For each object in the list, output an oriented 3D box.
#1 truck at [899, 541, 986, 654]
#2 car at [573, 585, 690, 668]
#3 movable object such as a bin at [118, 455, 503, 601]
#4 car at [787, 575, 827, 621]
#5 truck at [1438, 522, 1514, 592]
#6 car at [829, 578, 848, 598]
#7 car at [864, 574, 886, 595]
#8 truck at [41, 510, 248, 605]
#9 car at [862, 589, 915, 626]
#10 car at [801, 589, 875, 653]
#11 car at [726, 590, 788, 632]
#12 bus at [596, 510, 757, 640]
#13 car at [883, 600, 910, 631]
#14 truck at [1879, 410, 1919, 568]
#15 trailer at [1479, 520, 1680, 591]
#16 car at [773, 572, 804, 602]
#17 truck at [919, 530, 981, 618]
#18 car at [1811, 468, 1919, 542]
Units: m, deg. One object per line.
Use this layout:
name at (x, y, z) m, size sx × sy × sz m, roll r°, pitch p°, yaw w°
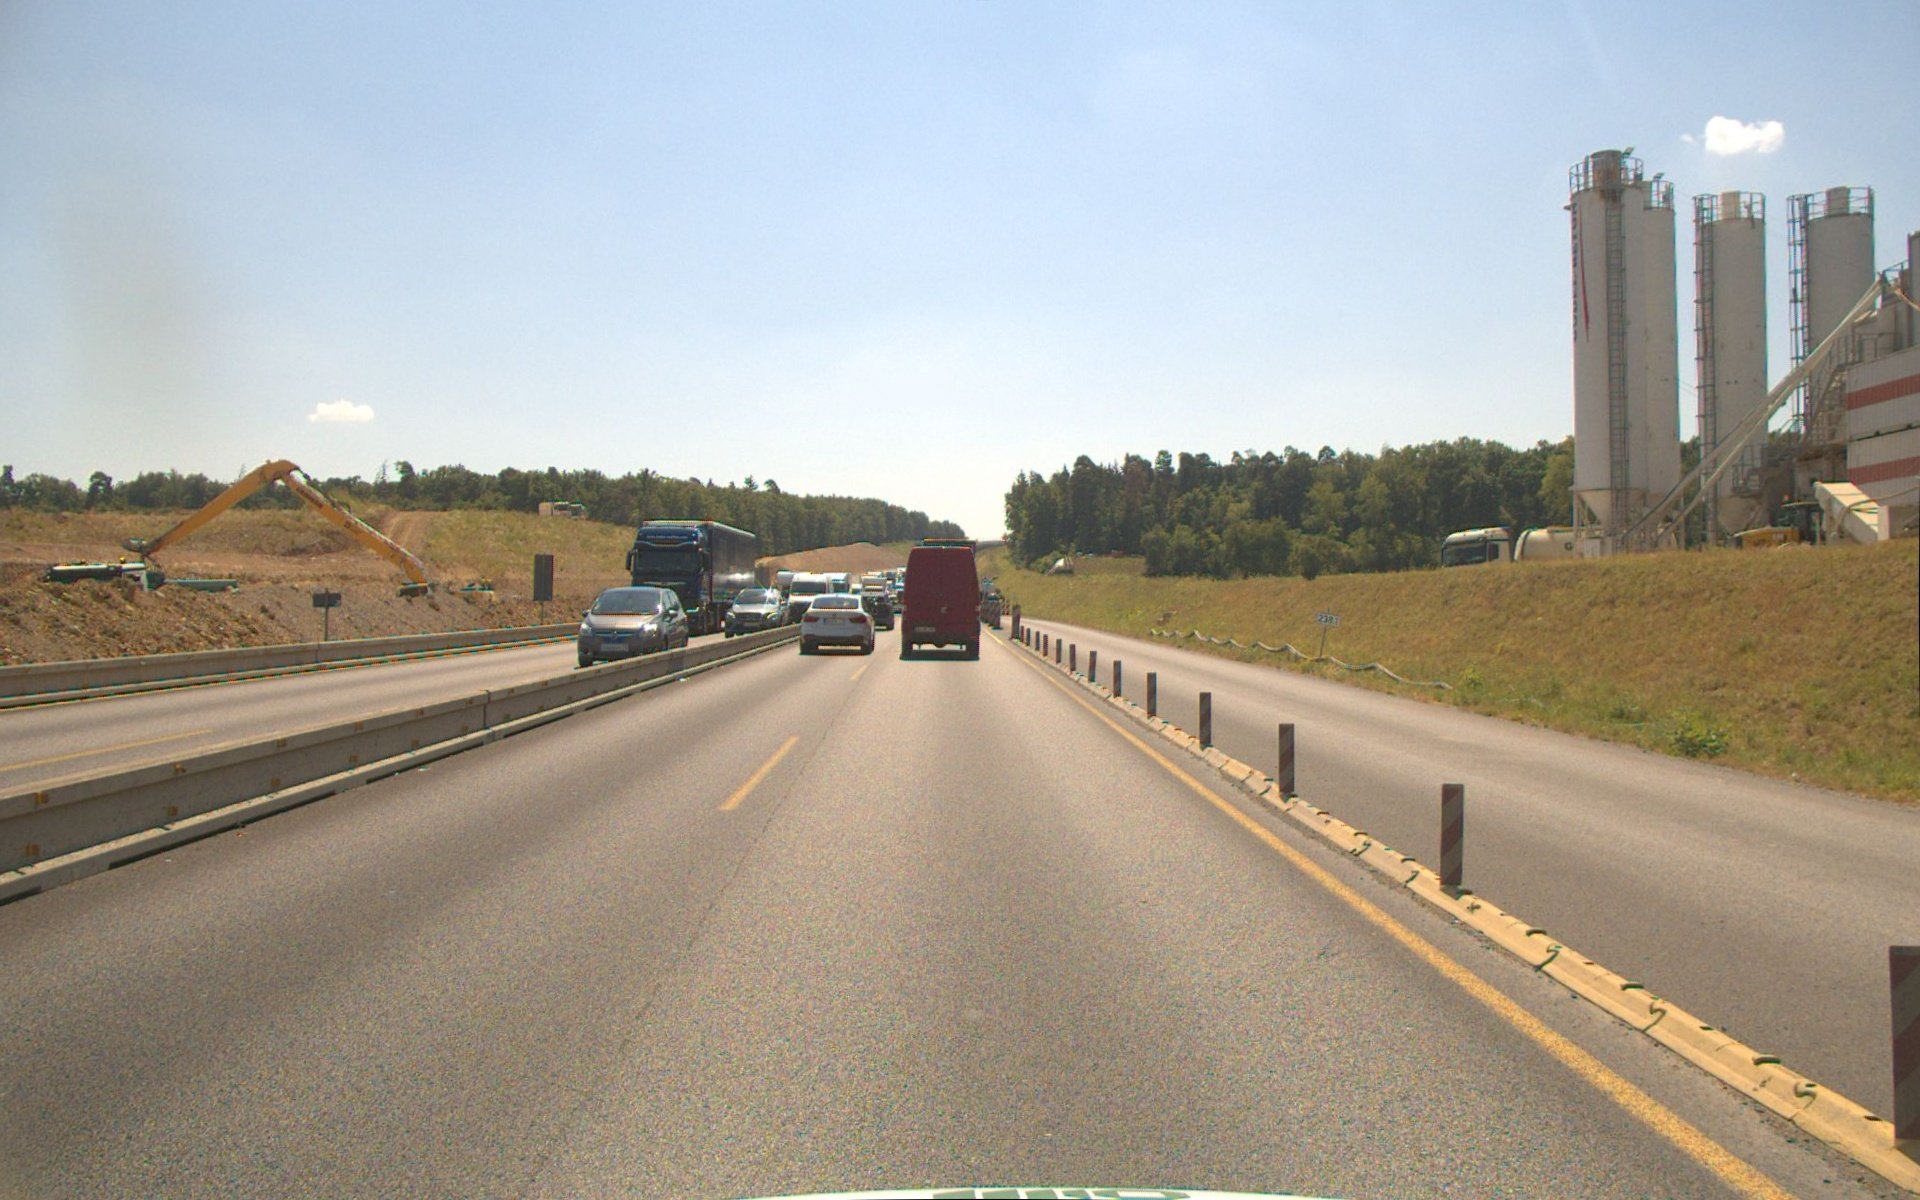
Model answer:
truck at (-0.368, -0.074, 42.669) m, size 2.068 × 2.679 × 6.485 m, roll 0°, pitch 0°, yaw 1°
car at (-6.646, 0.500, 33.840) m, size 1.618 × 1.585 × 4.095 m, roll 0°, pitch 0°, yaw -1°
movable object such as a bin at (-33.517, -3.696, 86.031) m, size 18.337 × 7.357 × 3.614 m, roll 0°, pitch 0°, yaw -3°
car at (-7.460, -0.085, 80.970) m, size 1.821 × 2.192 × 3.623 m, roll 0°, pitch 0°, yaw -3°
truck at (24.344, -1.955, 77.879) m, size 2.837 × 3.167 × 6.010 m, roll 0°, pitch 0°, yaw 23°
car at (-11.256, -1.093, 152.914) m, size 1.689 × 1.861 × 3.556 m, roll 0°, pitch 0°, yaw -3°
car at (-8.111, -1.461, 158.411) m, size 1.953 × 1.937 × 3.999 m, roll 0°, pitch 0°, yaw -1°
truck at (-24.761, -1.230, 50.759) m, size 2.268 × 2.663 × 8.409 m, roll 0°, pitch 0°, yaw -1°
car at (-3.043, 0.293, 71.179) m, size 1.757 × 1.561 × 3.933 m, roll 0°, pitch 0°, yaw 5°
car at (-3.156, 0.517, 43.470) m, size 1.759 × 1.561 × 5.070 m, roll 1°, pitch 0°, yaw -3°
car at (-6.827, 0.341, 55.806) m, size 1.687 × 1.369 × 3.625 m, roll 0°, pitch 0°, yaw -1°
bus at (-10.835, -0.924, 65.727) m, size 3.863 × 4.492 × 17.195 m, roll 0°, pitch 0°, yaw -2°
car at (-4.362, 1.071, 114.111) m, size 1.727 × 2.049 × 3.826 m, roll 0°, pitch 0°, yaw -1°
truck at (28.155, -3.084, 43.117) m, size 3.363 × 4.371 × 9.931 m, roll 0°, pitch 0°, yaw 3°
trailer at (29.772, -2.104, 79.586) m, size 8.848 × 3.285 × 3.317 m, roll 0°, pitch 0°, yaw -16°
car at (-11.746, -0.891, 113.404) m, size 1.727 × 2.049 × 3.826 m, roll 0°, pitch 0°, yaw -1°
truck at (-0.489, -1.290, 84.228) m, size 2.954 × 4.225 × 8.272 m, roll 0°, pitch 0°, yaw 0°
car at (28.598, -2.913, 51.454) m, size 1.953 × 2.049 × 4.427 m, roll 0°, pitch 0°, yaw -1°
